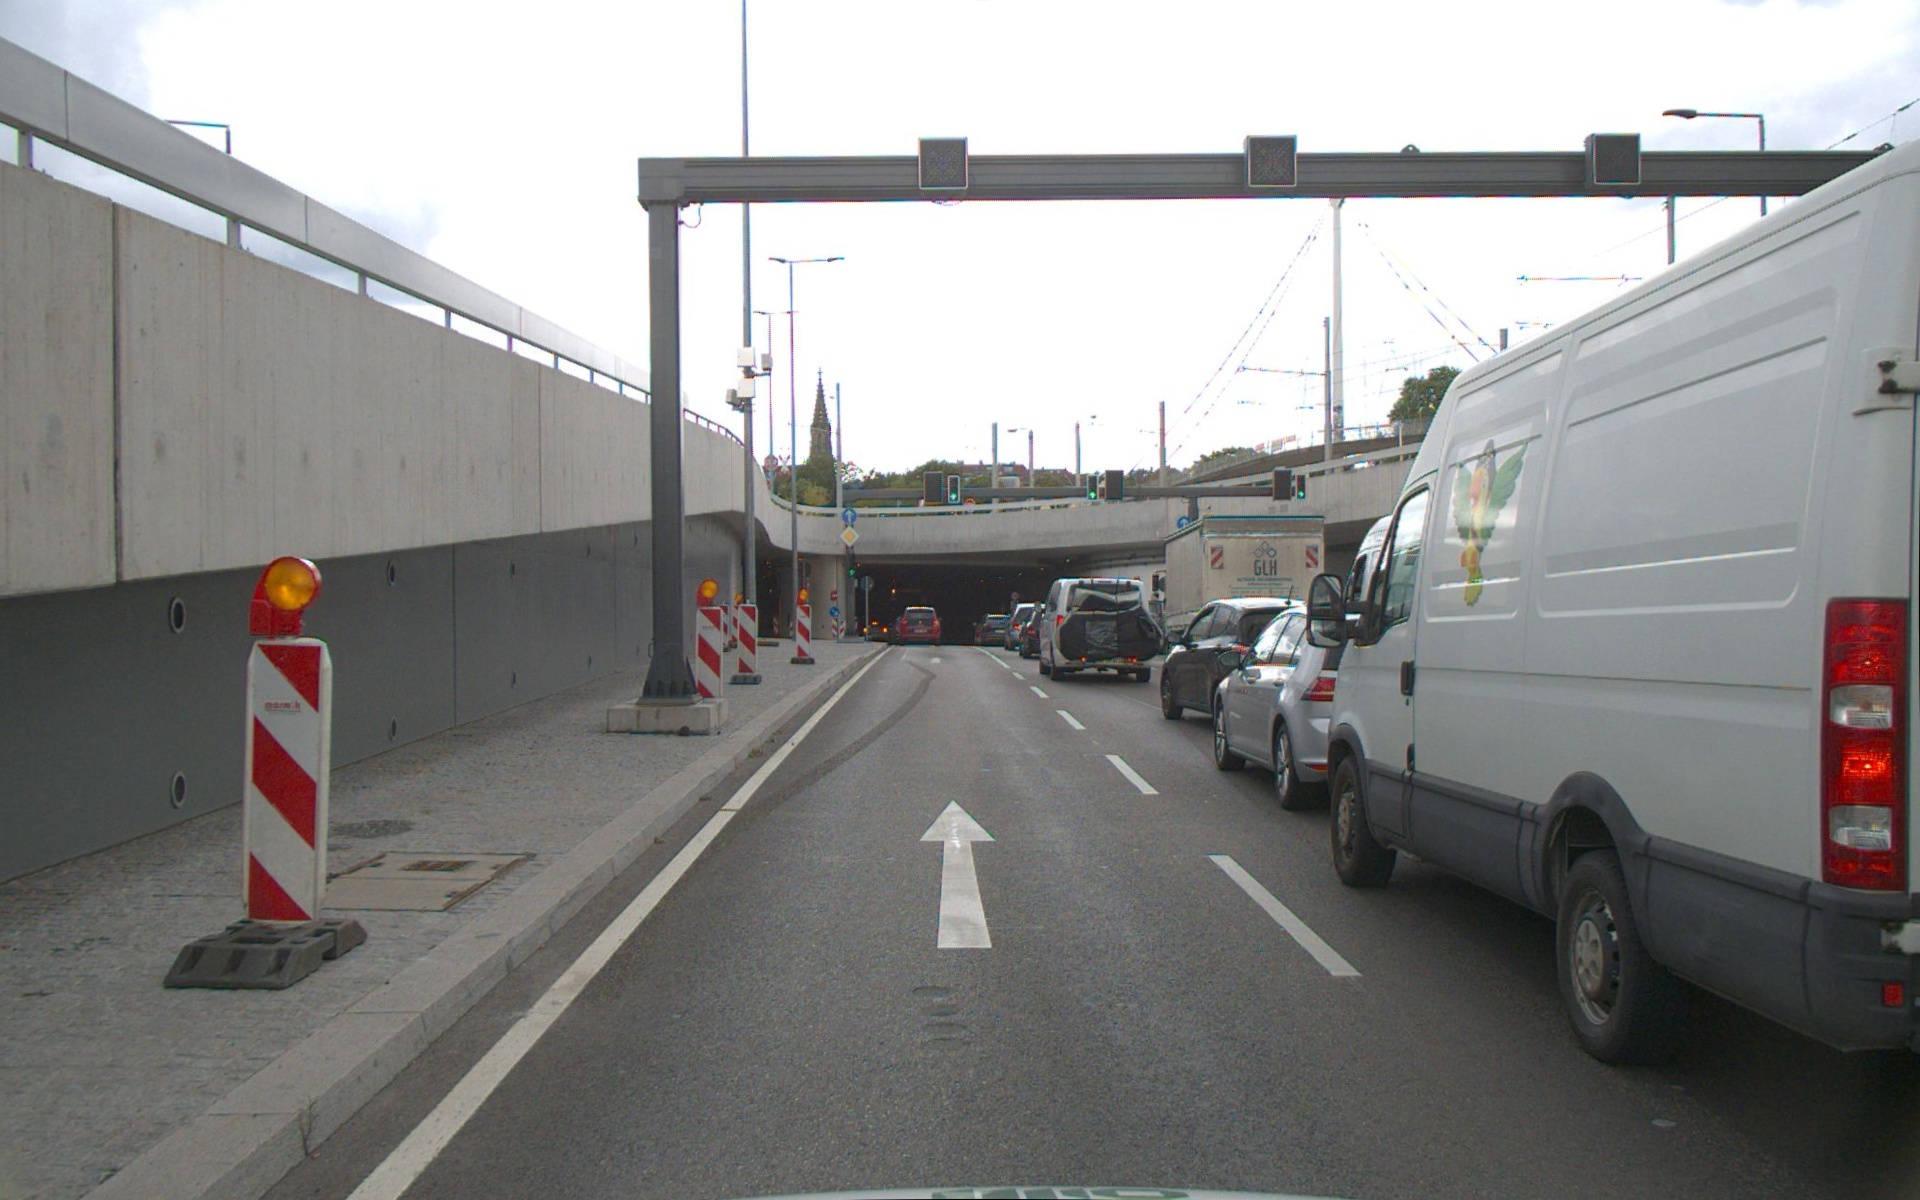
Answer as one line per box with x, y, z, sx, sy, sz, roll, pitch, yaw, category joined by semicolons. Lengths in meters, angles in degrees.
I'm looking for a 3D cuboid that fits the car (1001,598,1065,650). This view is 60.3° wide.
2.467;0.807;56.788;1.782;1.608;3.998;4;-1;-2;car

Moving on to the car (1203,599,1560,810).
3.134;0.722;13.143;1.728;1.407;4.037;0;-1;-1;car

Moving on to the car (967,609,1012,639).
1.283;1.062;73.205;1.631;1.269;3.563;0;-2;-5;car

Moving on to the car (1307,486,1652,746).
6.402;0.152;21.580;2.033;2.821;7.324;0;0;-2;car

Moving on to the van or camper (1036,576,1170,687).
2.598;0.632;31.293;1.953;1.878;5.506;1;-2;-1;van or camper

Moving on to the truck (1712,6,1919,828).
7.366;-1.016;8.170;3.728;4.712;7.440;1;0;-1;truck

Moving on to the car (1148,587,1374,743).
3.342;0.665;19.027;1.649;1.572;3.689;1;0;-4;car

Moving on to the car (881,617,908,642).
-5.138;2.278;129.055;1.955;1.804;3.996;0;0;-5;car

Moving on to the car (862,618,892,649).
-5.782;2.308;115.902;1.953;2.049;3.999;0;0;-1;car

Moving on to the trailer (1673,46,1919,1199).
3.124;0.124;2.438;2.060;2.685;4.809;0;-1;0;trailer

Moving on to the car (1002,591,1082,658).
2.212;0.632;45.460;1.782;1.713;3.998;1;0;-3;car

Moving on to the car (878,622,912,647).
-3.380;1.785;85.754;1.480;1.269;3.560;0;-2;-8;car

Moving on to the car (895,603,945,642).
-1.638;0.905;66.402;1.629;1.514;3.560;0;-2;-8;car

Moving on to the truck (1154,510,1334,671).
6.205;-0.161;37.272;2.596;3.241;7.423;0;-1;-1;truck

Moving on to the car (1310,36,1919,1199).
3.097;0.142;6.478;2.016;2.673;5.941;3;-1;0;car
